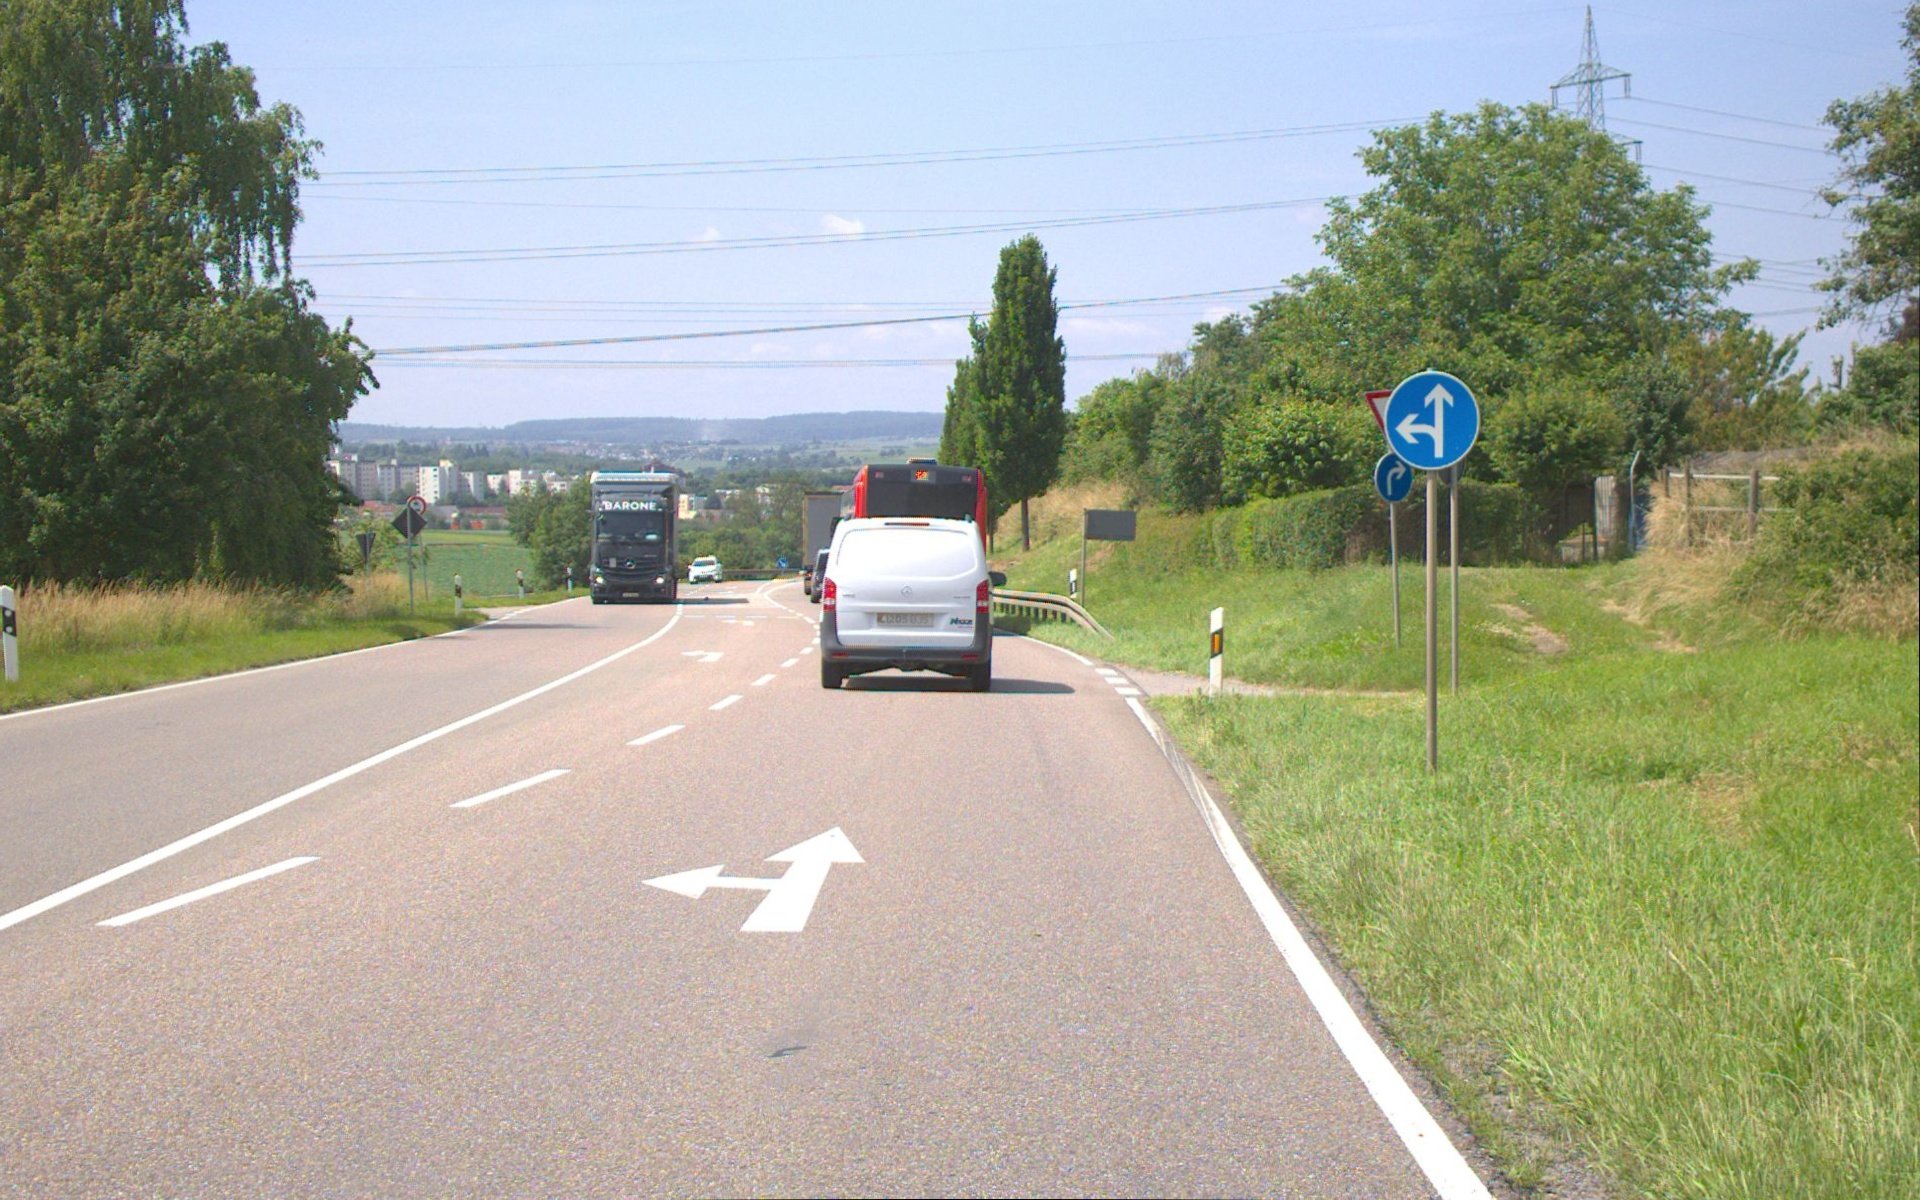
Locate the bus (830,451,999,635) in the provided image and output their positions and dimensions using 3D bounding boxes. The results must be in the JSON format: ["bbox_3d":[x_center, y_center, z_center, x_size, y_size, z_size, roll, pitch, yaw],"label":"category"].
[{"bbox_3d":[-1.096,-1.360,71.193,2.747,3.341,13.225,-2,3,-3],"label":"bus"}]

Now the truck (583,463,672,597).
[{"bbox_3d":[-10.372,-2.184,107.620,2.585,4.090,5.442,0,1,-3],"label":"truck"}]

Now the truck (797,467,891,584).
[{"bbox_3d":[-4.695,-2.986,138.707,3.488,4.408,14.904,-1,1,-2],"label":"truck"}]

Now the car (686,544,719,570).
[{"bbox_3d":[-15.844,-2.678,211.668,1.853,1.560,4.075,-1,1,-2],"label":"car"}]

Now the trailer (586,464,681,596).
[{"bbox_3d":[-10.780,-2.282,114.553,2.592,4.128,13.743,0,1,-3],"label":"trailer"}]

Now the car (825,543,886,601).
[{"bbox_3d":[-3.386,-0.916,111.631,1.885,1.810,3.765,-1,1,-1],"label":"car"}]

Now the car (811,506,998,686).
[{"bbox_3d":[-0.571,-0.090,38.815,1.923,1.883,4.000,-1,1,1],"label":"car"}]
